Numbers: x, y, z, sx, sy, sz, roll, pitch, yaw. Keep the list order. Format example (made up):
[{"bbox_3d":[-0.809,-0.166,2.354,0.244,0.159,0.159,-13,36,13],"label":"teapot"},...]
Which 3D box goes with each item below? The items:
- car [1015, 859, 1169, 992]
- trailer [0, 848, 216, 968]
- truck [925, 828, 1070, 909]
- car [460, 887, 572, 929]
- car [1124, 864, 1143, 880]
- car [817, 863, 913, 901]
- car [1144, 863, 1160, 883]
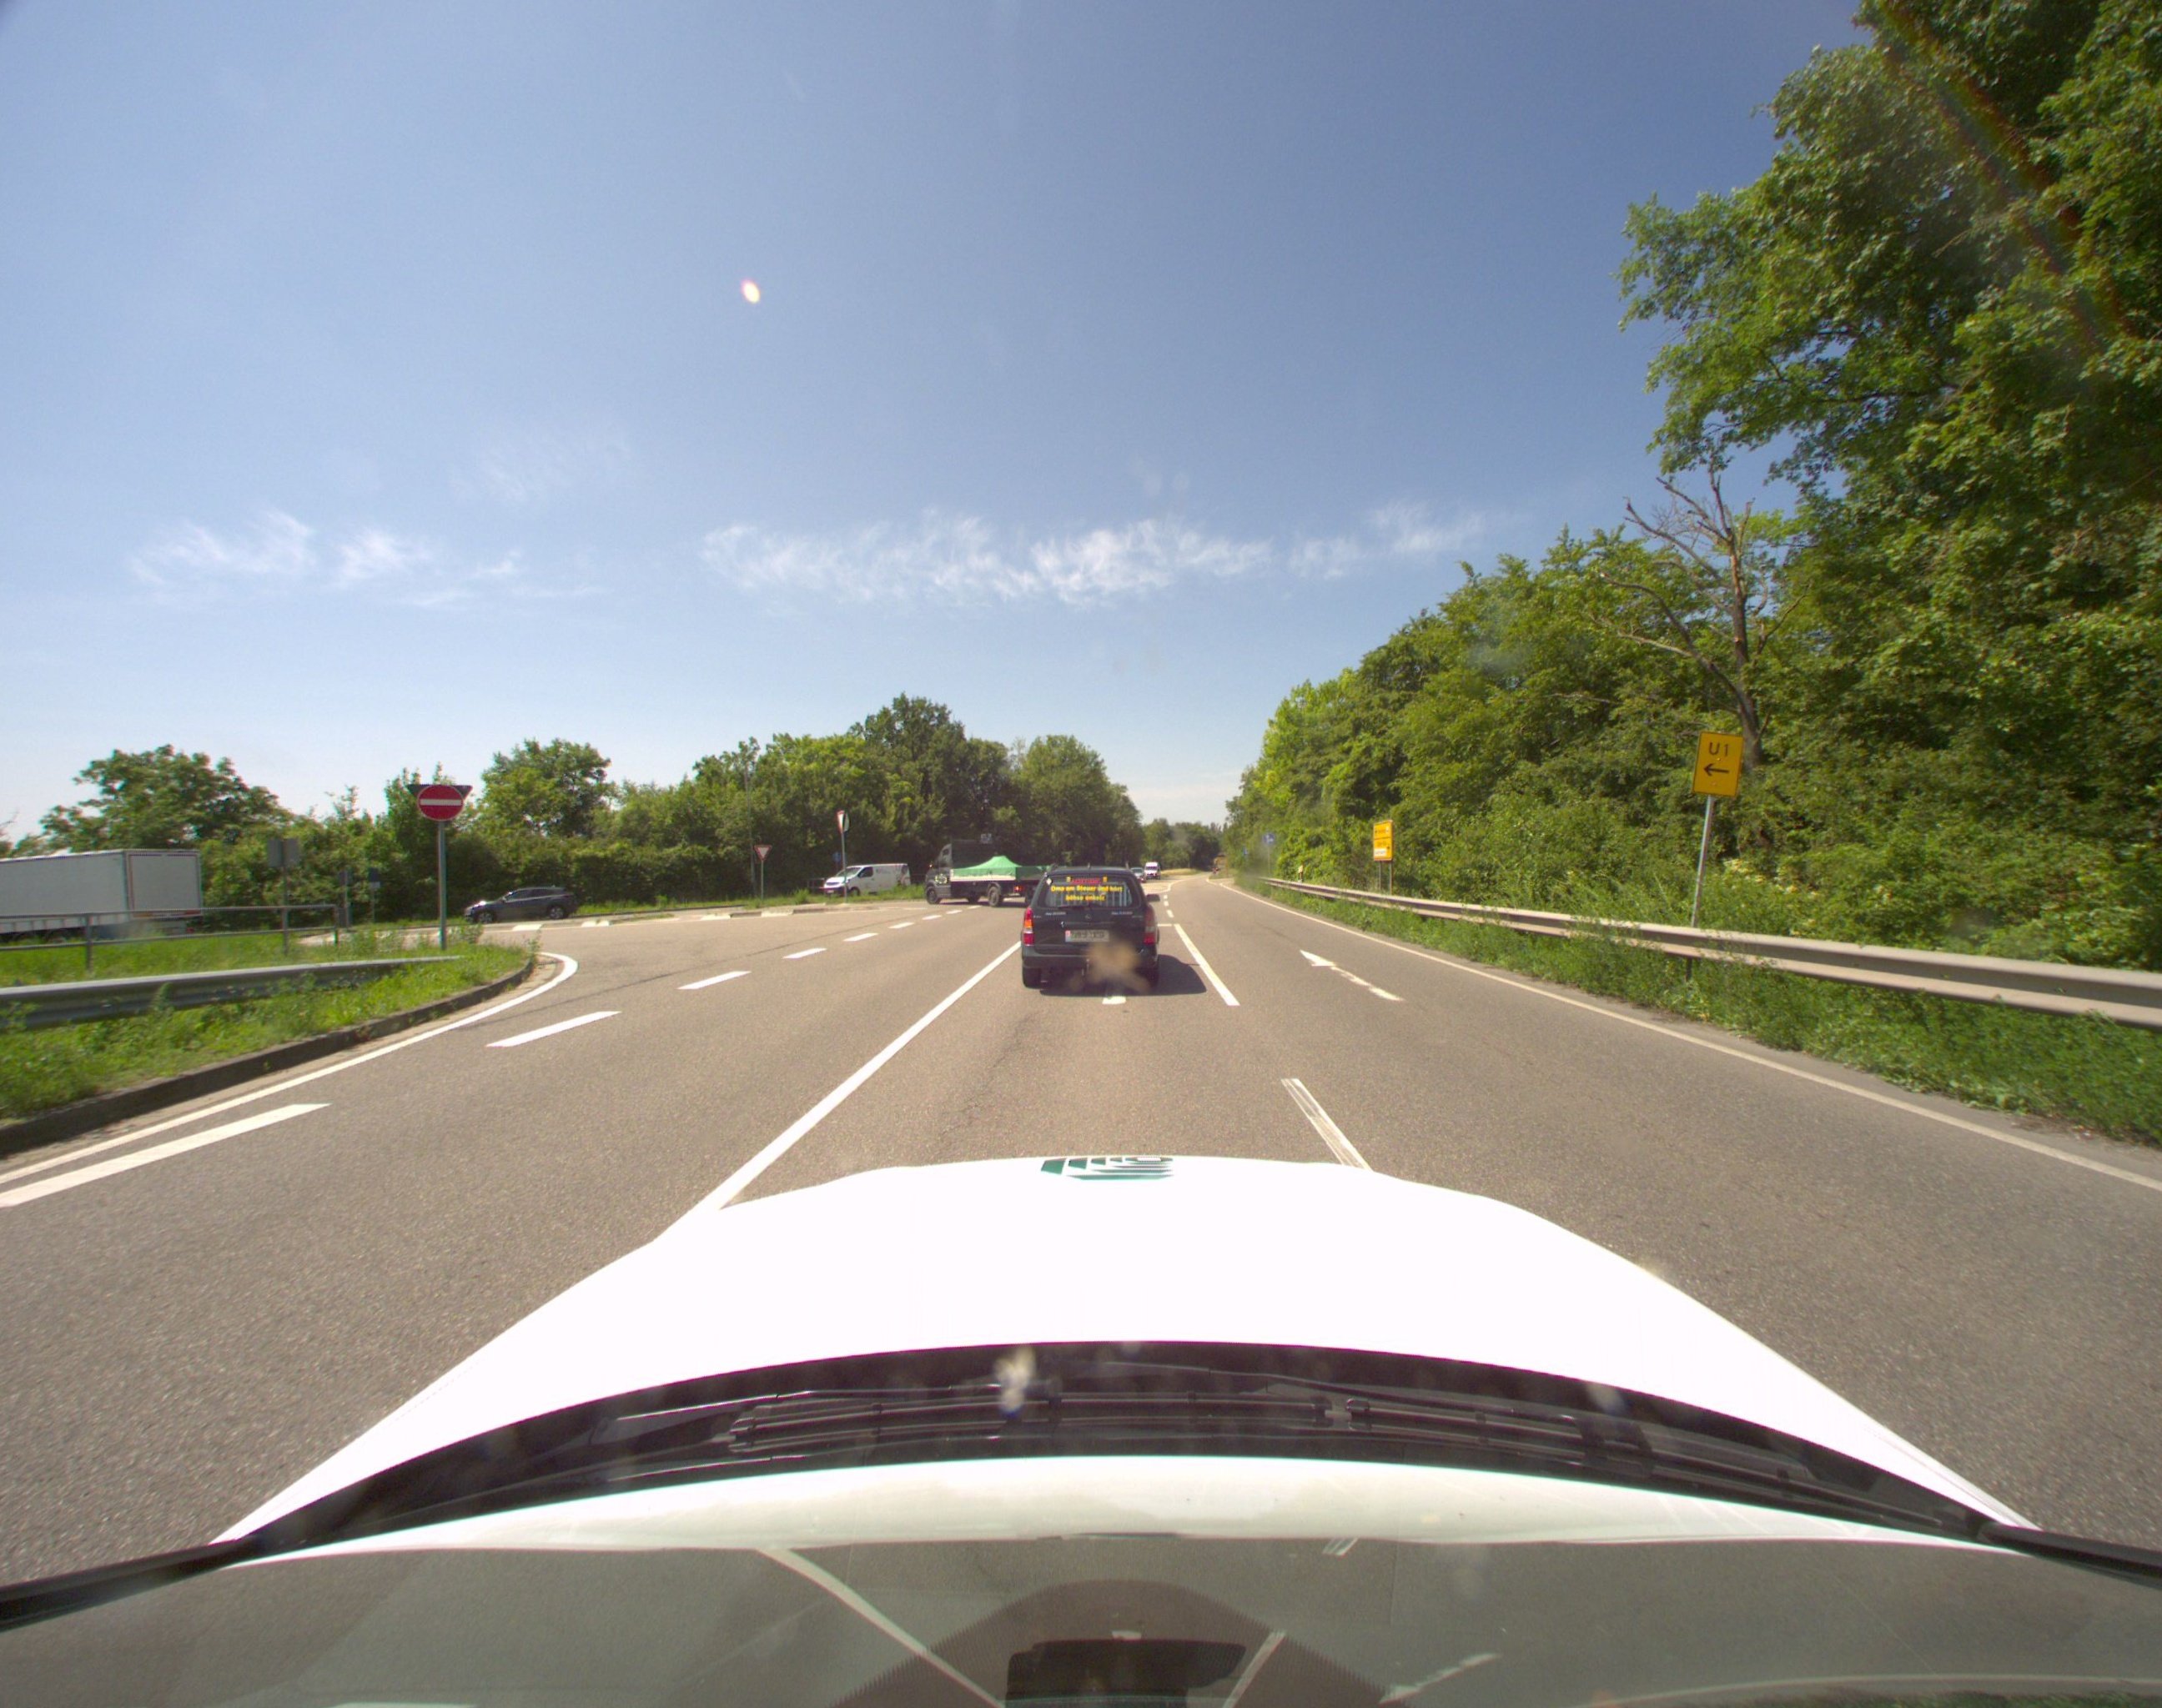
[{"bbox_3d":[0.216,0.818,11.008,1.713,1.457,3.800,-1,0,3],"label":"car"},{"bbox_3d":[-43.486,2.419,32.858,13.700,4.275,2.999,-4,-1,0],"label":"trailer"},{"bbox_3d":[-3.194,0.505,29.354,2.155,2.565,6.565,0,-1,-36],"label":"truck"},{"bbox_3d":[-25.014,2.363,36.220,3.941,1.596,1.753,-1,0,-31],"label":"car"},{"bbox_3d":[4.959,1.679,76.469,1.636,1.419,3.771,-1,-1,5],"label":"car"},{"bbox_3d":[-12.133,1.537,46.109,1.990,1.924,5.227,-1,0,33],"label":"car"},{"bbox_3d":[10.560,2.787,120.996,2.094,2.850,6.022,-1,-1,6],"label":"car"}]
